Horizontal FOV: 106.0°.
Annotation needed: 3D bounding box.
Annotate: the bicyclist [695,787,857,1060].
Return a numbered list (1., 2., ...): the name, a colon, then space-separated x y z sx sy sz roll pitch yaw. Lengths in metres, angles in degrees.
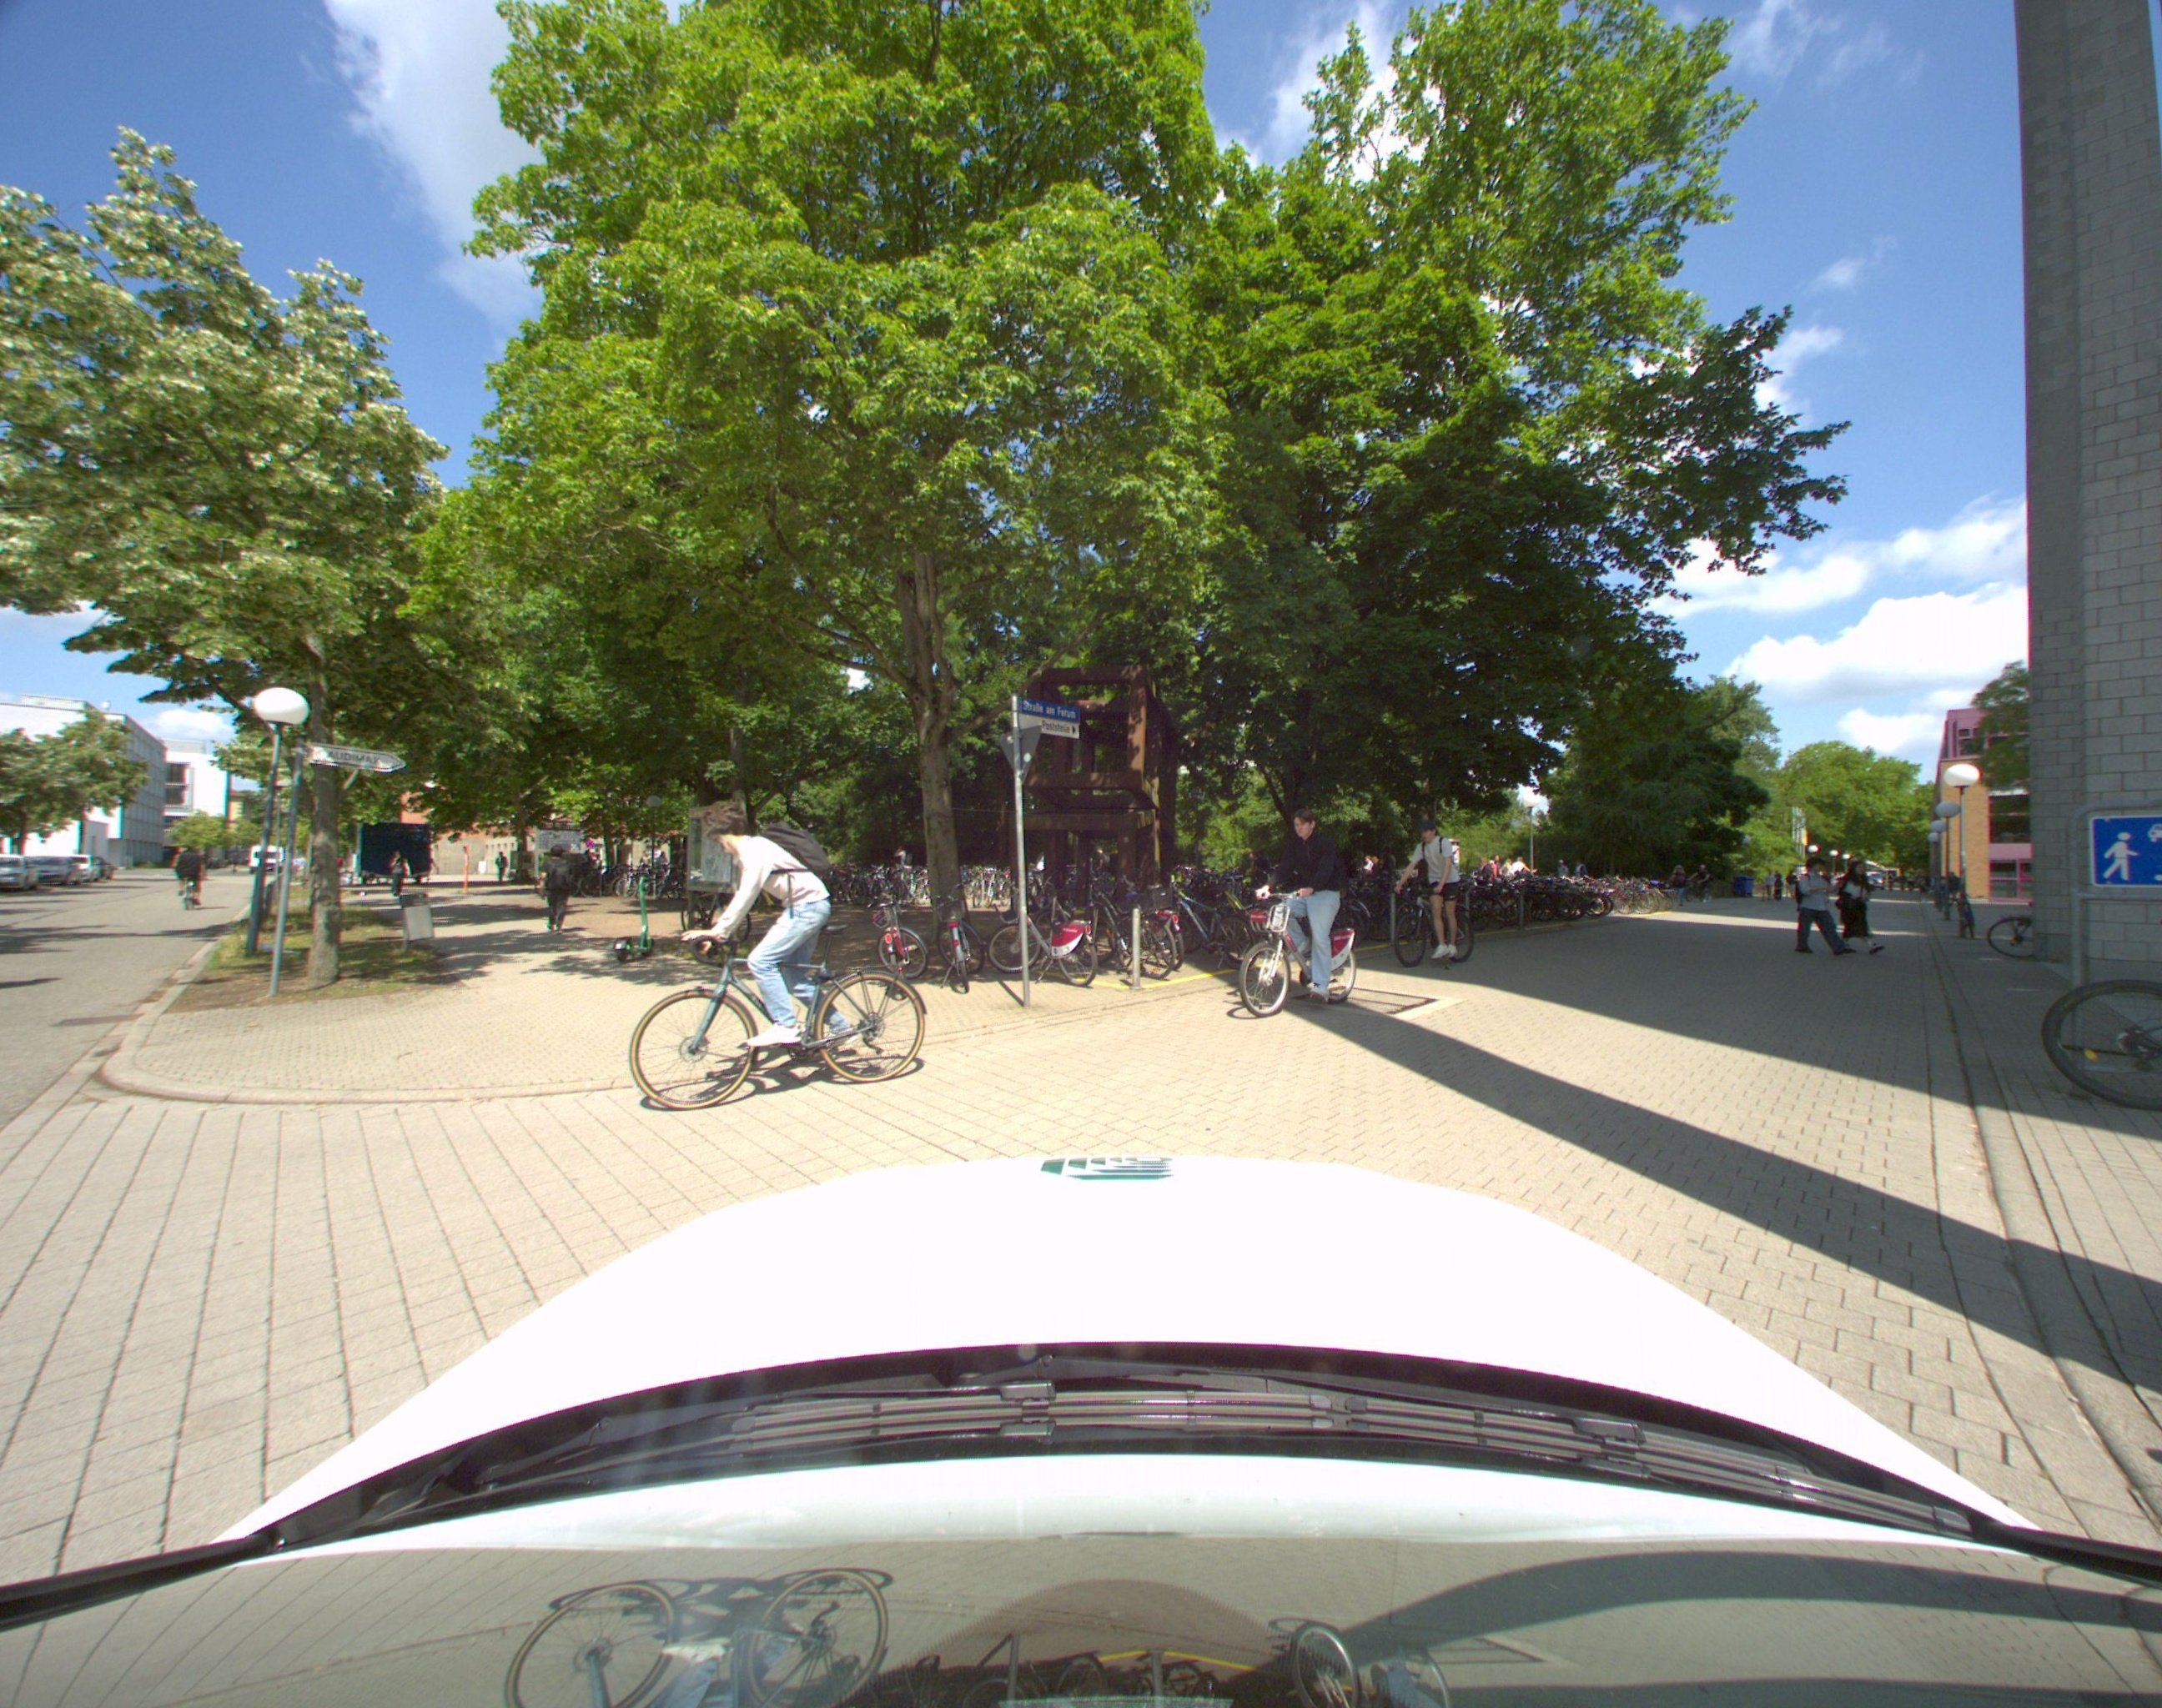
1. bicyclist: -1.906 0.389 5.145 0.875 1.573 0.636 -1 1 -21

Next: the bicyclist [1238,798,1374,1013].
1. bicyclist: 2.112 0.461 7.654 0.972 1.887 0.669 3 0 -29

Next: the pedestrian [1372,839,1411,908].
1. pedestrian: 8.336 0.522 21.890 0.764 1.807 0.710 2 -1 2

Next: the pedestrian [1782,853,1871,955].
1. pedestrian: 12.664 0.827 13.851 0.672 1.670 0.897 1 -1 -7

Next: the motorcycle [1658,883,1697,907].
1. motorcycle: 30.515 2.089 41.704 0.471 1.047 2.025 2 1 -1

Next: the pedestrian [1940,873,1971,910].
1. pedestrian: 45.543 1.952 42.413 1.019 1.857 0.893 2 -1 45

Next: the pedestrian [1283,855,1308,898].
1. pedestrian: 8.505 0.884 32.339 0.898 1.680 0.772 1 -1 13

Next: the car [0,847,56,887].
1. car: -42.756 0.495 32.467 4.482 1.541 1.849 0 -1 44

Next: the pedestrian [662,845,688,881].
1. pedestrian: -20.860 0.452 41.809 0.896 1.802 0.774 1 -1 28

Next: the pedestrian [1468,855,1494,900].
1. pedestrian: 15.836 0.932 32.273 0.678 1.724 0.735 2 -1 44

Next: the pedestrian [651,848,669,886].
1. pedestrian: -19.714 0.597 38.143 0.662 1.771 0.506 1 -1 40

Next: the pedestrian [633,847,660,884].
1. pedestrian: -21.524 0.566 40.349 0.896 1.774 0.774 1 -1 28

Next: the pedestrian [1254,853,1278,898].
1. pedestrian: 7.444 0.860 32.834 0.898 1.774 0.772 1 -1 13

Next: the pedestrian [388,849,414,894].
1. pedestrian: -23.556 0.611 28.218 0.573 1.520 0.831 2 -1 -36

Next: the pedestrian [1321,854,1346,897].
1. pedestrian: 10.138 0.874 32.716 0.898 1.680 0.772 1 -1 13

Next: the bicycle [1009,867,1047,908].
1. bicycle: -1.490 0.928 23.201 0.498 1.108 1.913 2 -1 13

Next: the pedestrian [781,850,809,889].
1. pedestrian: -13.455 0.715 38.273 0.896 1.774 0.774 1 -1 28

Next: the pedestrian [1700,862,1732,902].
1. pedestrian: 29.941 1.300 38.393 1.045 1.835 0.613 2 -1 -6

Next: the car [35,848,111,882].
1. car: -48.339 0.527 39.151 4.482 1.541 1.849 0 -1 44

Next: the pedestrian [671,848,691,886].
1. pedestrian: -19.079 0.610 38.828 0.651 1.774 0.613 1 -1 40

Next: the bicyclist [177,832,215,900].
1. bicyclist: -24.861 0.335 22.881 0.817 1.875 0.674 -1 -1 40

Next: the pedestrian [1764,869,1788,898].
1. pedestrian: 44.054 1.859 51.636 0.776 1.845 1.124 2 0 22

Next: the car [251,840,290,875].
1. car: -72.381 0.361 72.749 5.668 3.015 2.282 -1 -4 45

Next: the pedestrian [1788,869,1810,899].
1. pedestrian: 44.835 1.871 50.827 0.781 1.844 0.682 3 -1 -12

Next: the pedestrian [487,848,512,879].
1. pedestrian: -33.877 0.572 47.438 0.896 1.774 0.774 1 -1 28

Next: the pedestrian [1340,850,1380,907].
1. pedestrian: 8.613 0.750 25.175 0.903 1.703 0.768 2 -1 -7

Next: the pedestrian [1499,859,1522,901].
1. pedestrian: 17.818 1.059 33.783 0.680 1.724 0.733 0 -1 10

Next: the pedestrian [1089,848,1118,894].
1. pedestrian: 0.901 0.675 32.408 0.896 1.774 0.774 1 -1 23

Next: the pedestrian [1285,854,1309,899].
1. pedestrian: 8.804 0.915 33.192 0.898 1.774 0.772 1 -1 13

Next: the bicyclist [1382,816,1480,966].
1. bicyclist: 4.662 0.470 10.865 0.871 1.891 0.797 3 0 -35

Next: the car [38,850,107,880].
1. car: -53.214 0.572 43.055 4.482 1.541 1.849 0 -1 44

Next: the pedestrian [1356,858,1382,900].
1. pedestrian: 11.665 1.003 32.984 0.898 1.680 0.772 1 -1 13

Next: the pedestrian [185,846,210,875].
1. pedestrian: -55.436 0.395 51.107 0.896 1.774 0.774 1 -1 23

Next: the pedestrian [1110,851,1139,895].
1. pedestrian: 1.784 0.784 33.455 0.896 1.774 0.774 1 -1 24

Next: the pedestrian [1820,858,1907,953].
1. pedestrian: 13.705 0.883 14.285 0.802 1.617 0.741 1 -2 1

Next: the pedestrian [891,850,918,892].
1. pedestrian: -7.783 0.748 35.882 0.774 1.774 0.896 2 -1 -43

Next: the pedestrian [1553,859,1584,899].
1. pedestrian: 22.549 1.144 37.679 0.980 1.804 0.768 2 -1 -7

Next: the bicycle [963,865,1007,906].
1. bicycle: -2.722 0.883 23.300 0.497 1.108 1.915 2 -1 16

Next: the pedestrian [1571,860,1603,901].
1. pedestrian: 22.876 1.199 36.830 0.879 1.815 0.832 2 -1 -10

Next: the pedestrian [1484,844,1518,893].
1. pedestrian: 15.867 0.547 30.802 0.938 1.835 0.684 1 -1 -10

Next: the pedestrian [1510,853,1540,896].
1. pedestrian: 18.012 0.837 33.029 0.926 1.724 0.681 0 -1 43

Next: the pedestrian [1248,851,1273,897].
1. pedestrian: 7.057 0.776 32.009 0.898 1.774 0.772 1 -1 13

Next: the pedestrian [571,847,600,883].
1. pedestrian: -25.402 0.556 41.749 0.776 1.774 0.925 1 -1 28

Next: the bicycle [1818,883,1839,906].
1. bicycle: 39.348 2.148 42.860 0.764 1.150 2.120 -1 -3 43

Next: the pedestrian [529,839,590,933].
1. pedestrian: -9.648 0.578 15.071 0.863 1.684 0.732 0 -1 43

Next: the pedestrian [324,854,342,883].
1. pedestrian: -40.185 0.780 43.758 0.625 1.520 0.727 2 -1 -41

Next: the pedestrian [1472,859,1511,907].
1. pedestrian: 14.953 1.053 29.669 1.061 1.724 0.716 1 -1 -11

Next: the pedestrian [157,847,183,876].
1. pedestrian: -55.949 0.446 50.006 0.896 1.774 0.774 1 -1 23

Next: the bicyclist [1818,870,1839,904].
1. bicyclist: 39.365 1.740 42.880 0.764 1.716 0.916 -1 -3 43

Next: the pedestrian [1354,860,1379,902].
1. pedestrian: 11.838 1.103 33.797 0.898 1.680 0.772 1 -1 13

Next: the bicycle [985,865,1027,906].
1. bicycle: -2.125 0.894 23.435 0.497 1.108 1.915 2 -1 16

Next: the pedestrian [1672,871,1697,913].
1. pedestrian: 24.949 1.563 33.680 0.760 1.680 0.913 0 -1 40

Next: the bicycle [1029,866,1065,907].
1. bicycle: -0.947 0.906 23.159 0.498 1.108 1.913 2 -1 13

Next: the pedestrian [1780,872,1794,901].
1. pedestrian: 40.234 1.875 46.405 0.563 1.611 0.924 1 -2 38

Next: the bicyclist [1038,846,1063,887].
1. bicyclist: -1.202 0.502 32.141 0.712 1.568 0.599 1 -1 30
